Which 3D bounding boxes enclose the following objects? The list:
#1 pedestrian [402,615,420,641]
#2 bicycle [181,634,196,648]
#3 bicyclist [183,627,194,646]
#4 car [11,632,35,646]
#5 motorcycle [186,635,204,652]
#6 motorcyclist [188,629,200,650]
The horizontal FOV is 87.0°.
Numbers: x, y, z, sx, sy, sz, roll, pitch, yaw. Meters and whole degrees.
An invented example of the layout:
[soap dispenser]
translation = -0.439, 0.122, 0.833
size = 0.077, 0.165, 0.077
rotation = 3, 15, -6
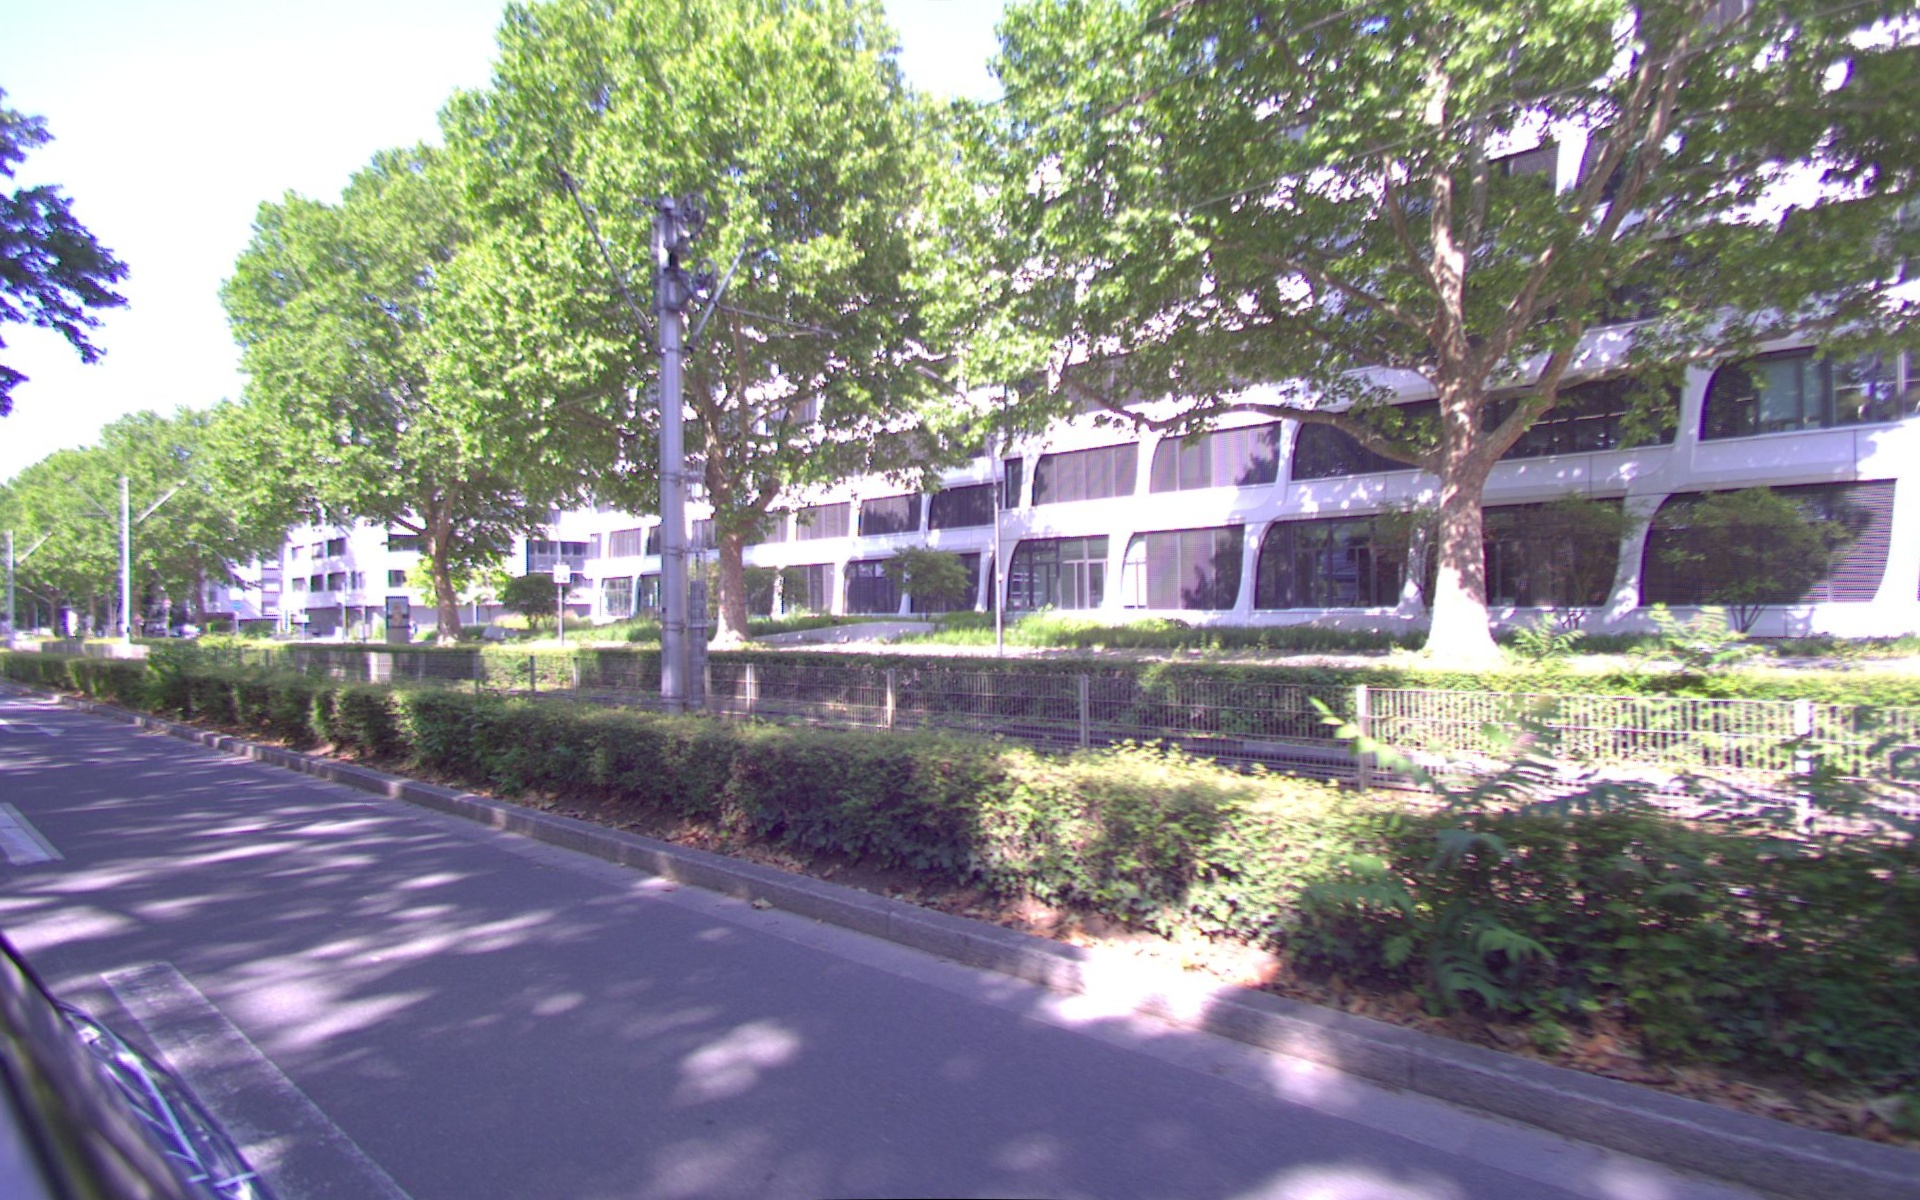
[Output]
[pedestrian]
translation = -34.706, 1.777, 63.954
size = 1.014, 1.600, 0.712
rotation = -2, -1, 42
[bicycle]
translation = -66.087, 3.492, 86.714
size = 2.030, 1.133, 0.657
rotation = -2, -1, 42
[bicyclist]
translation = -66.103, 3.118, 86.710
size = 0.641, 1.546, 0.647
rotation = -2, -1, 42
[car]
translation = -111.960, 4.603, 120.897
size = 4.018, 1.581, 1.738
rotation = -2, -1, 42
[motorcycle]
translation = -54.043, 3.047, 71.462
size = 1.999, 1.184, 0.625
rotation = -2, -1, 42
[motorcyclist]
translation = -54.094, 2.763, 71.494
size = 0.533, 1.468, 0.574
rotation = -2, -1, 42
